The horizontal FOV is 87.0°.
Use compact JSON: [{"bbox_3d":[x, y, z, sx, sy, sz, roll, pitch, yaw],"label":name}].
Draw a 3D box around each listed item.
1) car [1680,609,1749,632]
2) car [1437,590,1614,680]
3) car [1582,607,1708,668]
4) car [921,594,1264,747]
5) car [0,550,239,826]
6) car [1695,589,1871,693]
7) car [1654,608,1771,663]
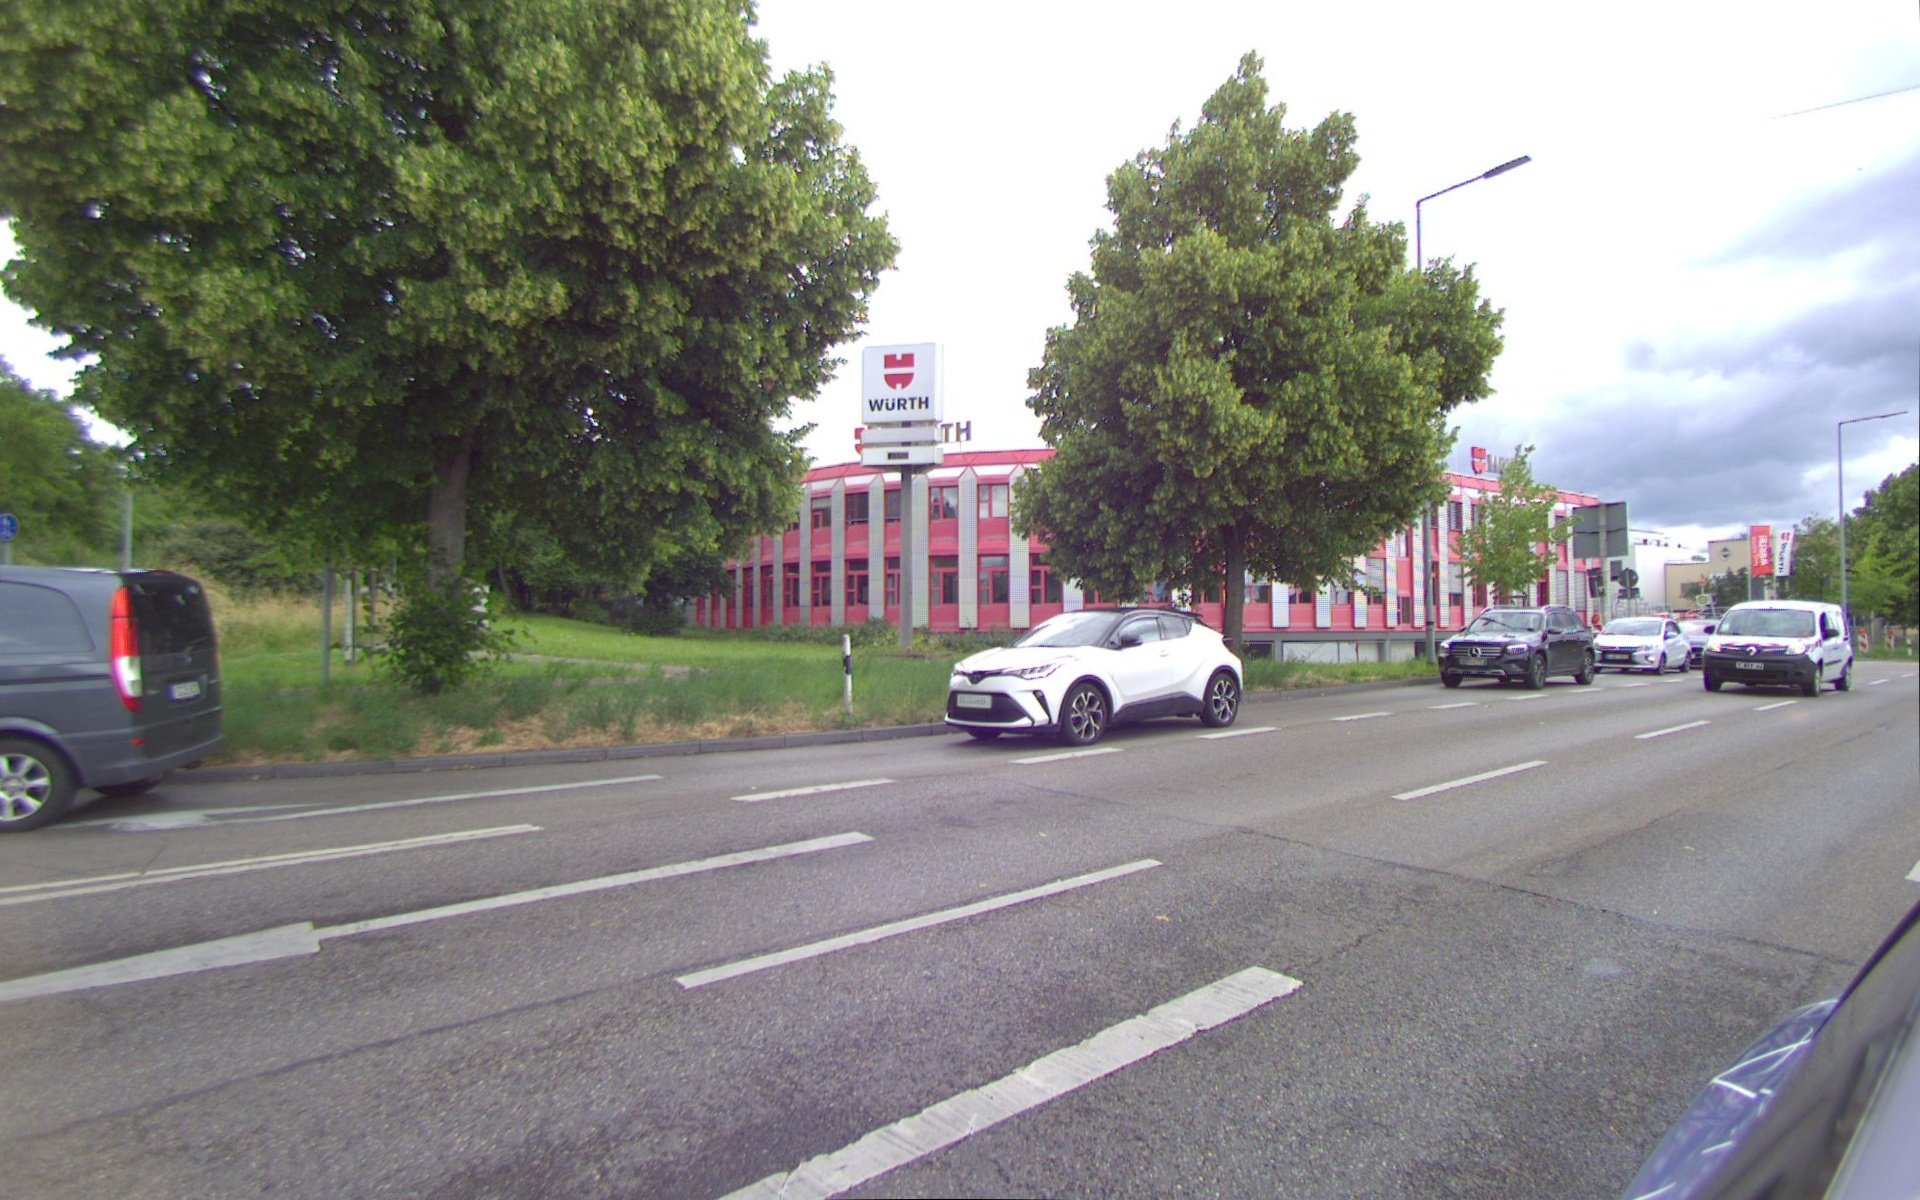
[{"bbox_3d":[61.801,1.687,82.957,1.752,1.776,4.247,0,0,-39],"label":"car"},{"bbox_3d":[11.788,0.726,20.986,4.346,1.671,1.784,3,-1,-40],"label":"car"},{"bbox_3d":[18.180,0.994,26.814,3.766,1.461,1.784,3,-1,-40],"label":"car"},{"bbox_3d":[1.731,0.764,12.354,4.230,1.555,1.783,0,-3,-41],"label":"car"},{"bbox_3d":[-8.221,0.650,7.241,4.622,1.858,1.925,-1,-3,-19],"label":"car"},{"bbox_3d":[16.527,0.745,20.231,4.755,1.825,1.997,1,0,-42],"label":"car"},{"bbox_3d":[22.208,1.057,29.813,4.446,1.464,1.784,3,-1,-40],"label":"car"}]
